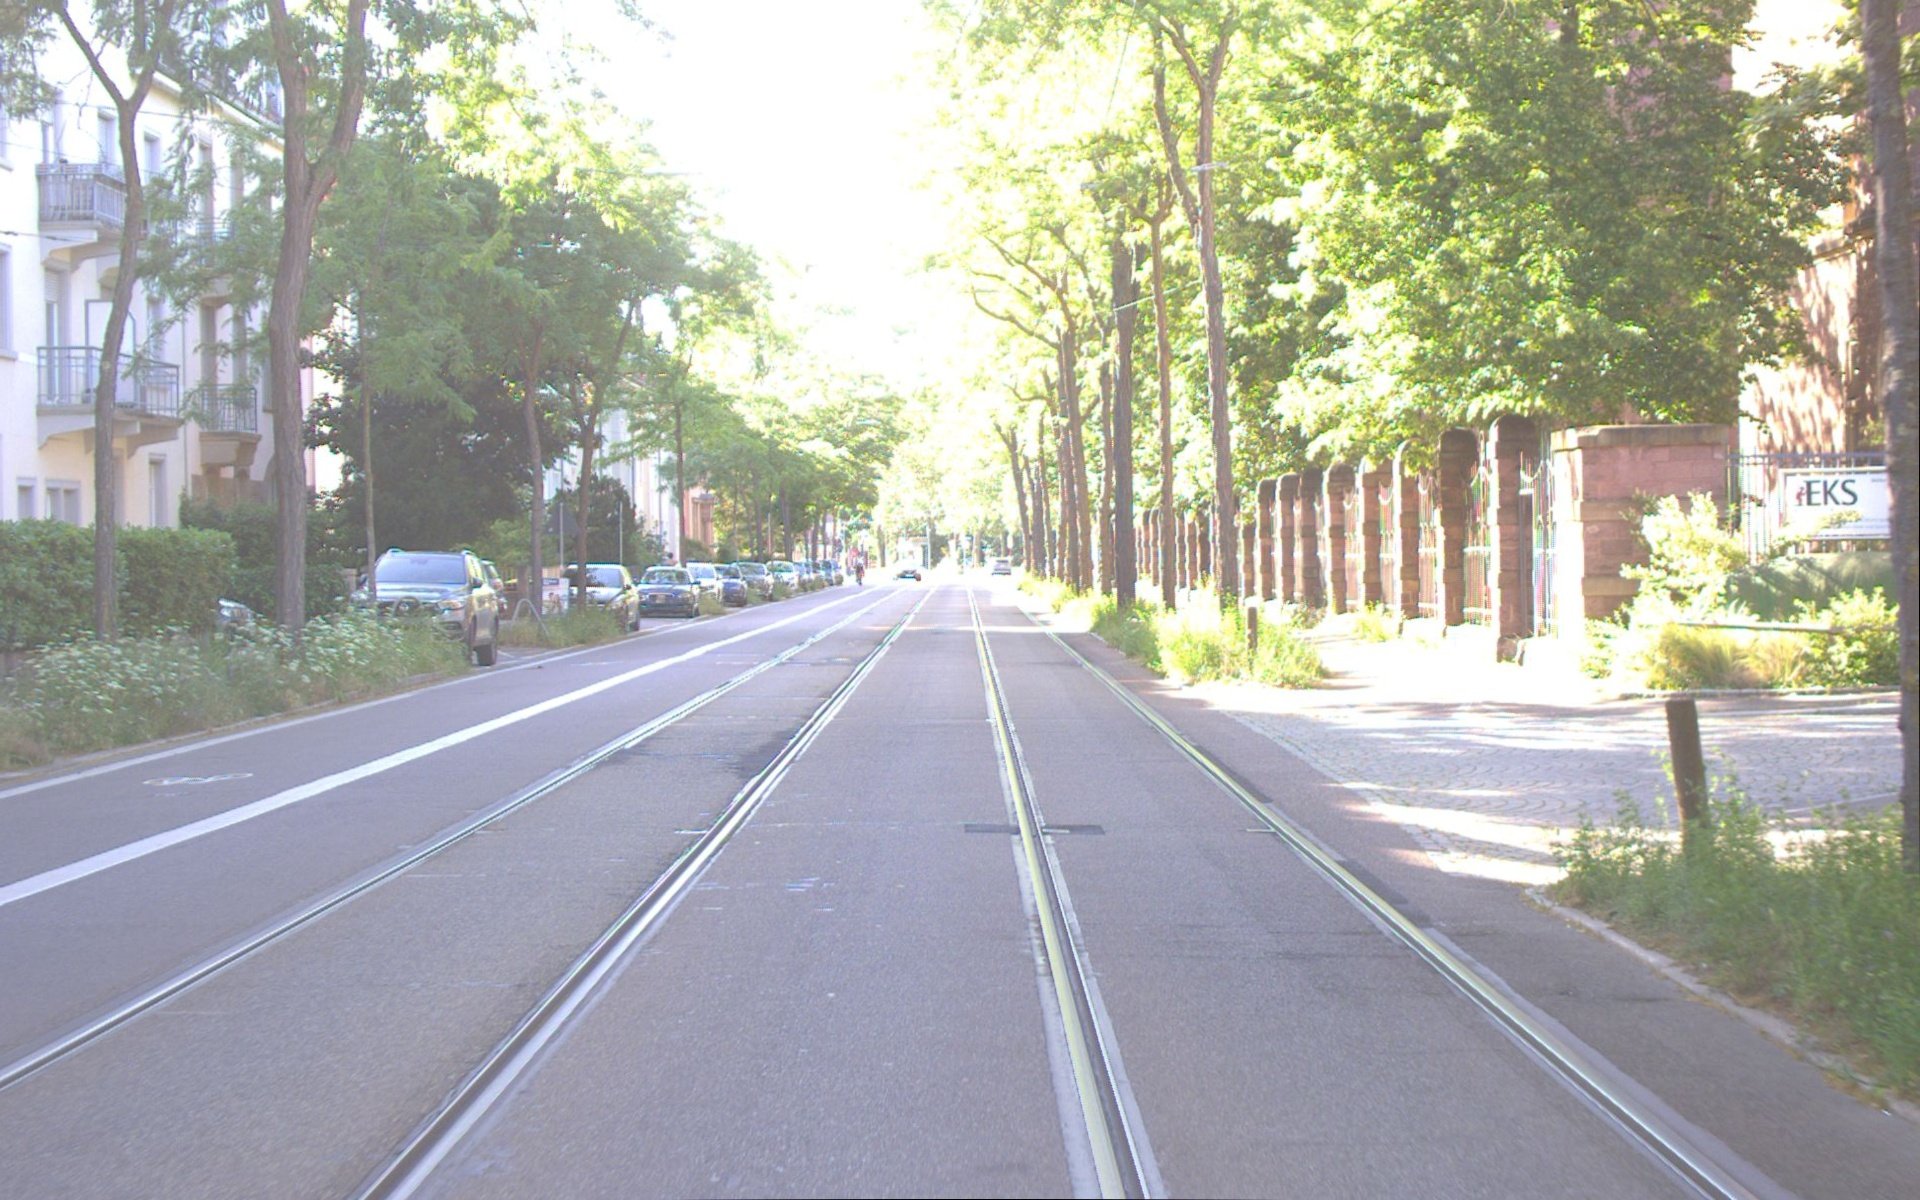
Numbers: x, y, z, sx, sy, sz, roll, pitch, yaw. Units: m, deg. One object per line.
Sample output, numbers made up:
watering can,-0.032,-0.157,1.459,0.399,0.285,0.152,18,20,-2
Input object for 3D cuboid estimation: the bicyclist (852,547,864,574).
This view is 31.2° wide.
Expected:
bicyclist,-6.345,-2.448,214.074,0.626,1.633,0.940,-3,1,0

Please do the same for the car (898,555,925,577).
car,-3.233,-2.296,228.869,1.758,1.434,4.524,0,1,-1

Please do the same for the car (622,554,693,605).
car,-8.625,-0.602,98.383,1.705,1.401,4.334,1,1,-1

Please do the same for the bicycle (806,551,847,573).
bicycle,-7.635,-2.162,196.716,2.285,1.194,0.559,2,2,7

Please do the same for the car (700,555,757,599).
car,-8.096,-0.825,120.326,1.758,1.506,4.439,1,1,-1

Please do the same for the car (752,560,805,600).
car,-7.043,-0.797,133.582,1.817,1.480,4.206,1,1,0

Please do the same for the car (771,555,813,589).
car,-7.775,-1.308,159.553,1.702,1.480,4.079,2,1,0

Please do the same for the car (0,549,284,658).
car,-13.234,0.036,55.225,4.301,1.655,1.953,1,1,2

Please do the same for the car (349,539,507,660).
car,-8.291,-0.040,53.918,1.870,1.816,4.772,0,1,-2

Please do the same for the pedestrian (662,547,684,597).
pedestrian,-10.476,-1.020,125.475,0.691,1.795,0.813,-1,1,0

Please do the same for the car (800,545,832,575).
car,-7.435,-2.076,177.258,1.560,1.452,3.931,2,1,-2

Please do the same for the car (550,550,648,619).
car,-8.310,-0.388,79.492,1.776,1.536,4.486,1,1,0

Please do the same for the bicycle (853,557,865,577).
bicycle,-6.312,-2.043,214.083,0.626,1.173,1.913,-3,1,0
